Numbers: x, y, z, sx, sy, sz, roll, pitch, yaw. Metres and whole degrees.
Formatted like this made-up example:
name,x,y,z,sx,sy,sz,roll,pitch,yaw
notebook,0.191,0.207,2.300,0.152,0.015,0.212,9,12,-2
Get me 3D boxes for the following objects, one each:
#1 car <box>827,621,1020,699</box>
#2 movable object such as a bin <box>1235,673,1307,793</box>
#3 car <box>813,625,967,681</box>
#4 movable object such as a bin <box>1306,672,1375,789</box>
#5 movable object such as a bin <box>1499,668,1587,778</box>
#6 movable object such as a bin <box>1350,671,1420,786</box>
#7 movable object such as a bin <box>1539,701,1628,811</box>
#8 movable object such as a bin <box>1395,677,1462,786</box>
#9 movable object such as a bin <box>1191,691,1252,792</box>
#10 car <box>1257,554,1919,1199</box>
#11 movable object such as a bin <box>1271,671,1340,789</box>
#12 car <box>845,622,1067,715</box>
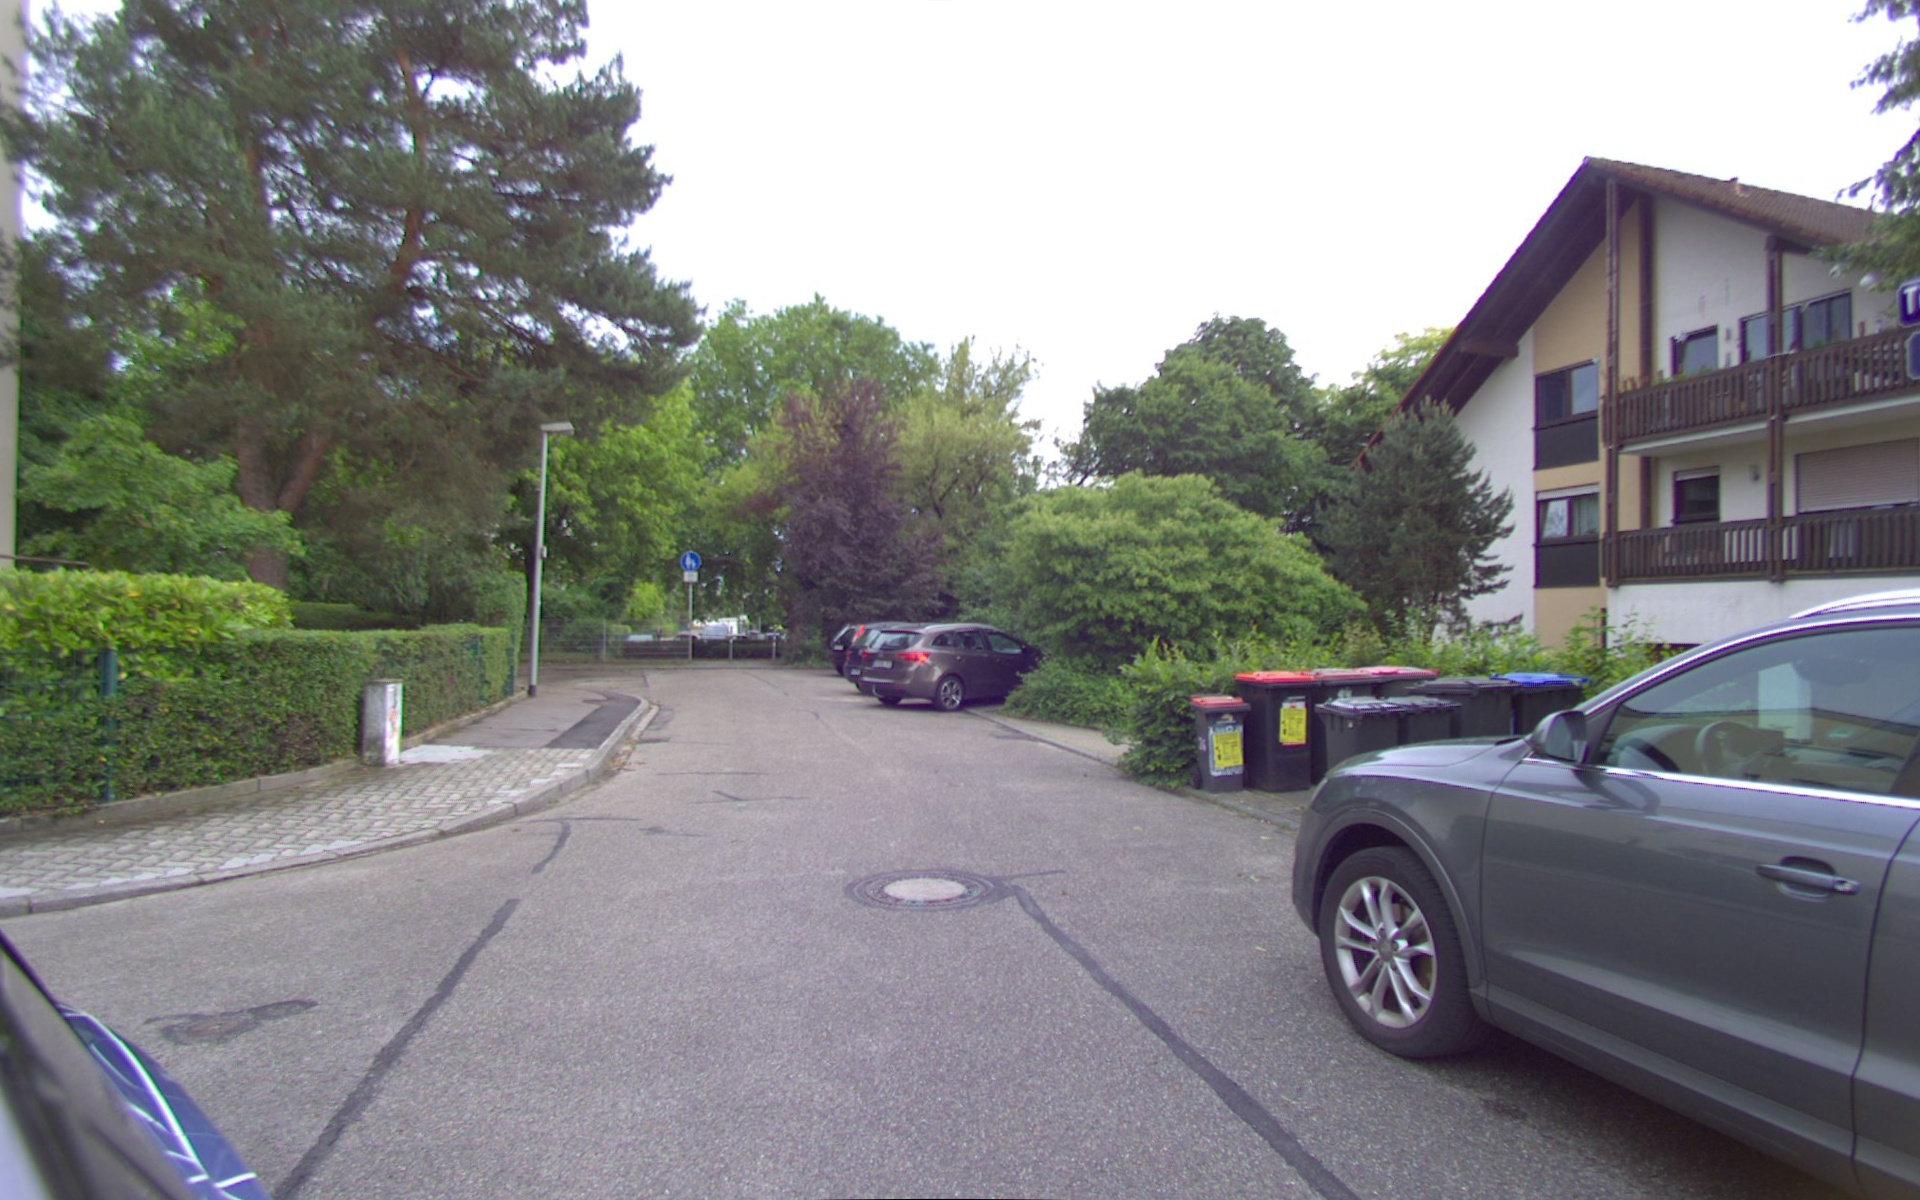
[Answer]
name,x,y,z,sx,sy,sz,roll,pitch,yaw
car,-0.710,1.221,21.519,3.938,1.502,1.703,2,-2,-42
movable object such as a bin,2.800,1.183,9.136,0.373,1.001,0.540,1,-1,-19
car,-1.846,1.390,27.315,3.938,1.385,1.703,2,-2,-42
movable object such as a bin,3.497,1.180,9.320,0.332,1.001,0.540,1,-1,-19
movable object such as a bin,4.573,0.948,7.949,0.373,0.803,0.462,0,-1,-17
movable object such as a bin,3.971,1.183,9.478,0.332,1.001,0.540,1,-1,-19
movable object such as a bin,4.964,1.229,8.072,0.373,0.804,0.462,0,-1,-17
movable object such as a bin,4.157,1.152,8.995,0.373,0.908,0.388,1,-1,-19
movable object such as a bin,2.353,1.261,9.123,0.373,0.843,0.388,1,-1,-19
car,2.661,0.717,2.291,1.717,1.542,4.264,2,-2,-17
movable object such as a bin,3.153,1.168,9.245,0.332,1.001,0.540,1,-1,-19
car,0.006,1.174,18.522,3.938,1.502,1.703,2,-2,-42
